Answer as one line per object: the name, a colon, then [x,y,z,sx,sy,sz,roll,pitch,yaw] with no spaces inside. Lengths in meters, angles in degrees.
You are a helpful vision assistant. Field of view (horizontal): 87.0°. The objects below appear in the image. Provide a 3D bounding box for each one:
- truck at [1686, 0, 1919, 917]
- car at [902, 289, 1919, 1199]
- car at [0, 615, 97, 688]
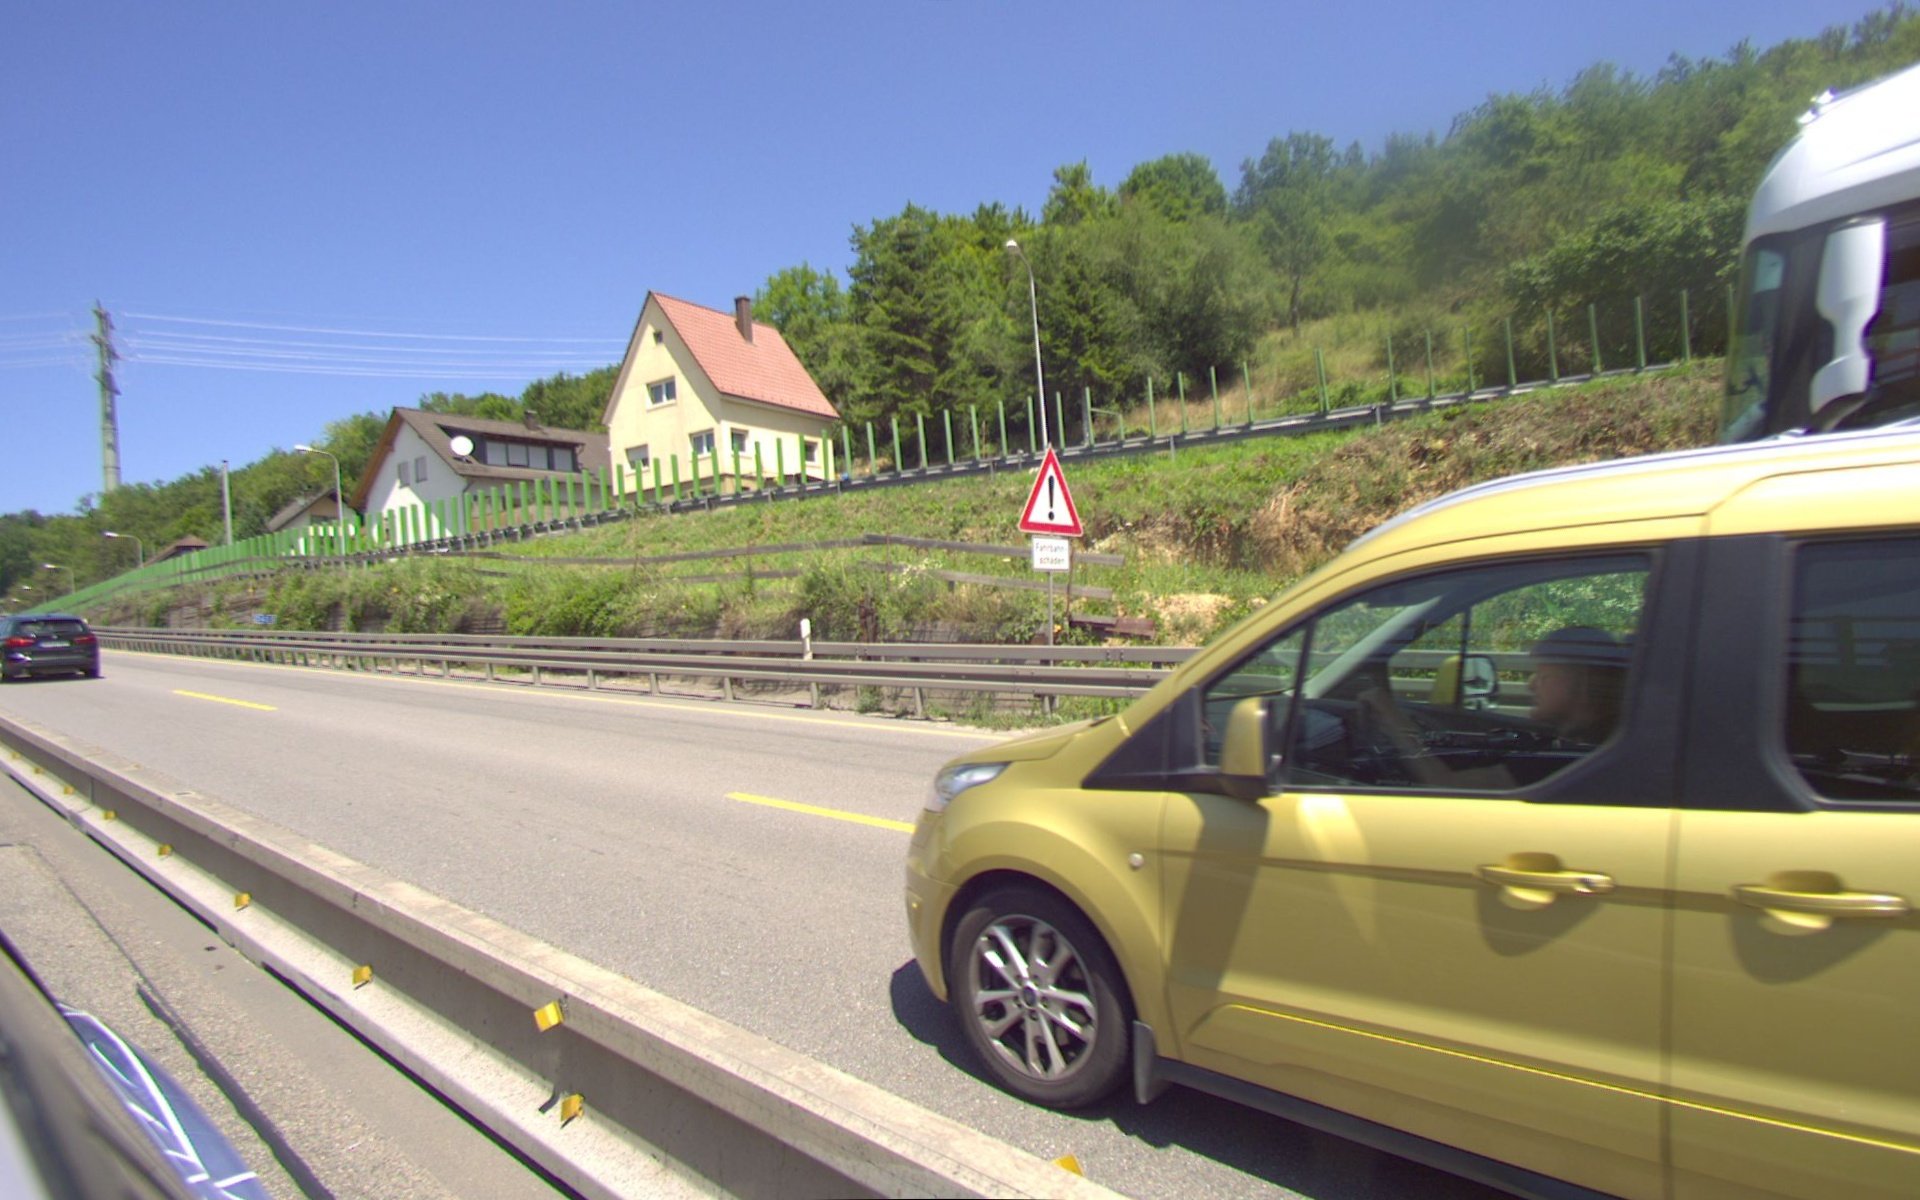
truck: [6.524,-0.987,3.368,6.479,4.269,3.149,0,1,40]
car: [2.081,0.407,2.312,4.431,1.834,1.757,-1,0,41]
car: [-22.276,1.197,24.312,4.099,1.573,1.683,-2,0,40]
